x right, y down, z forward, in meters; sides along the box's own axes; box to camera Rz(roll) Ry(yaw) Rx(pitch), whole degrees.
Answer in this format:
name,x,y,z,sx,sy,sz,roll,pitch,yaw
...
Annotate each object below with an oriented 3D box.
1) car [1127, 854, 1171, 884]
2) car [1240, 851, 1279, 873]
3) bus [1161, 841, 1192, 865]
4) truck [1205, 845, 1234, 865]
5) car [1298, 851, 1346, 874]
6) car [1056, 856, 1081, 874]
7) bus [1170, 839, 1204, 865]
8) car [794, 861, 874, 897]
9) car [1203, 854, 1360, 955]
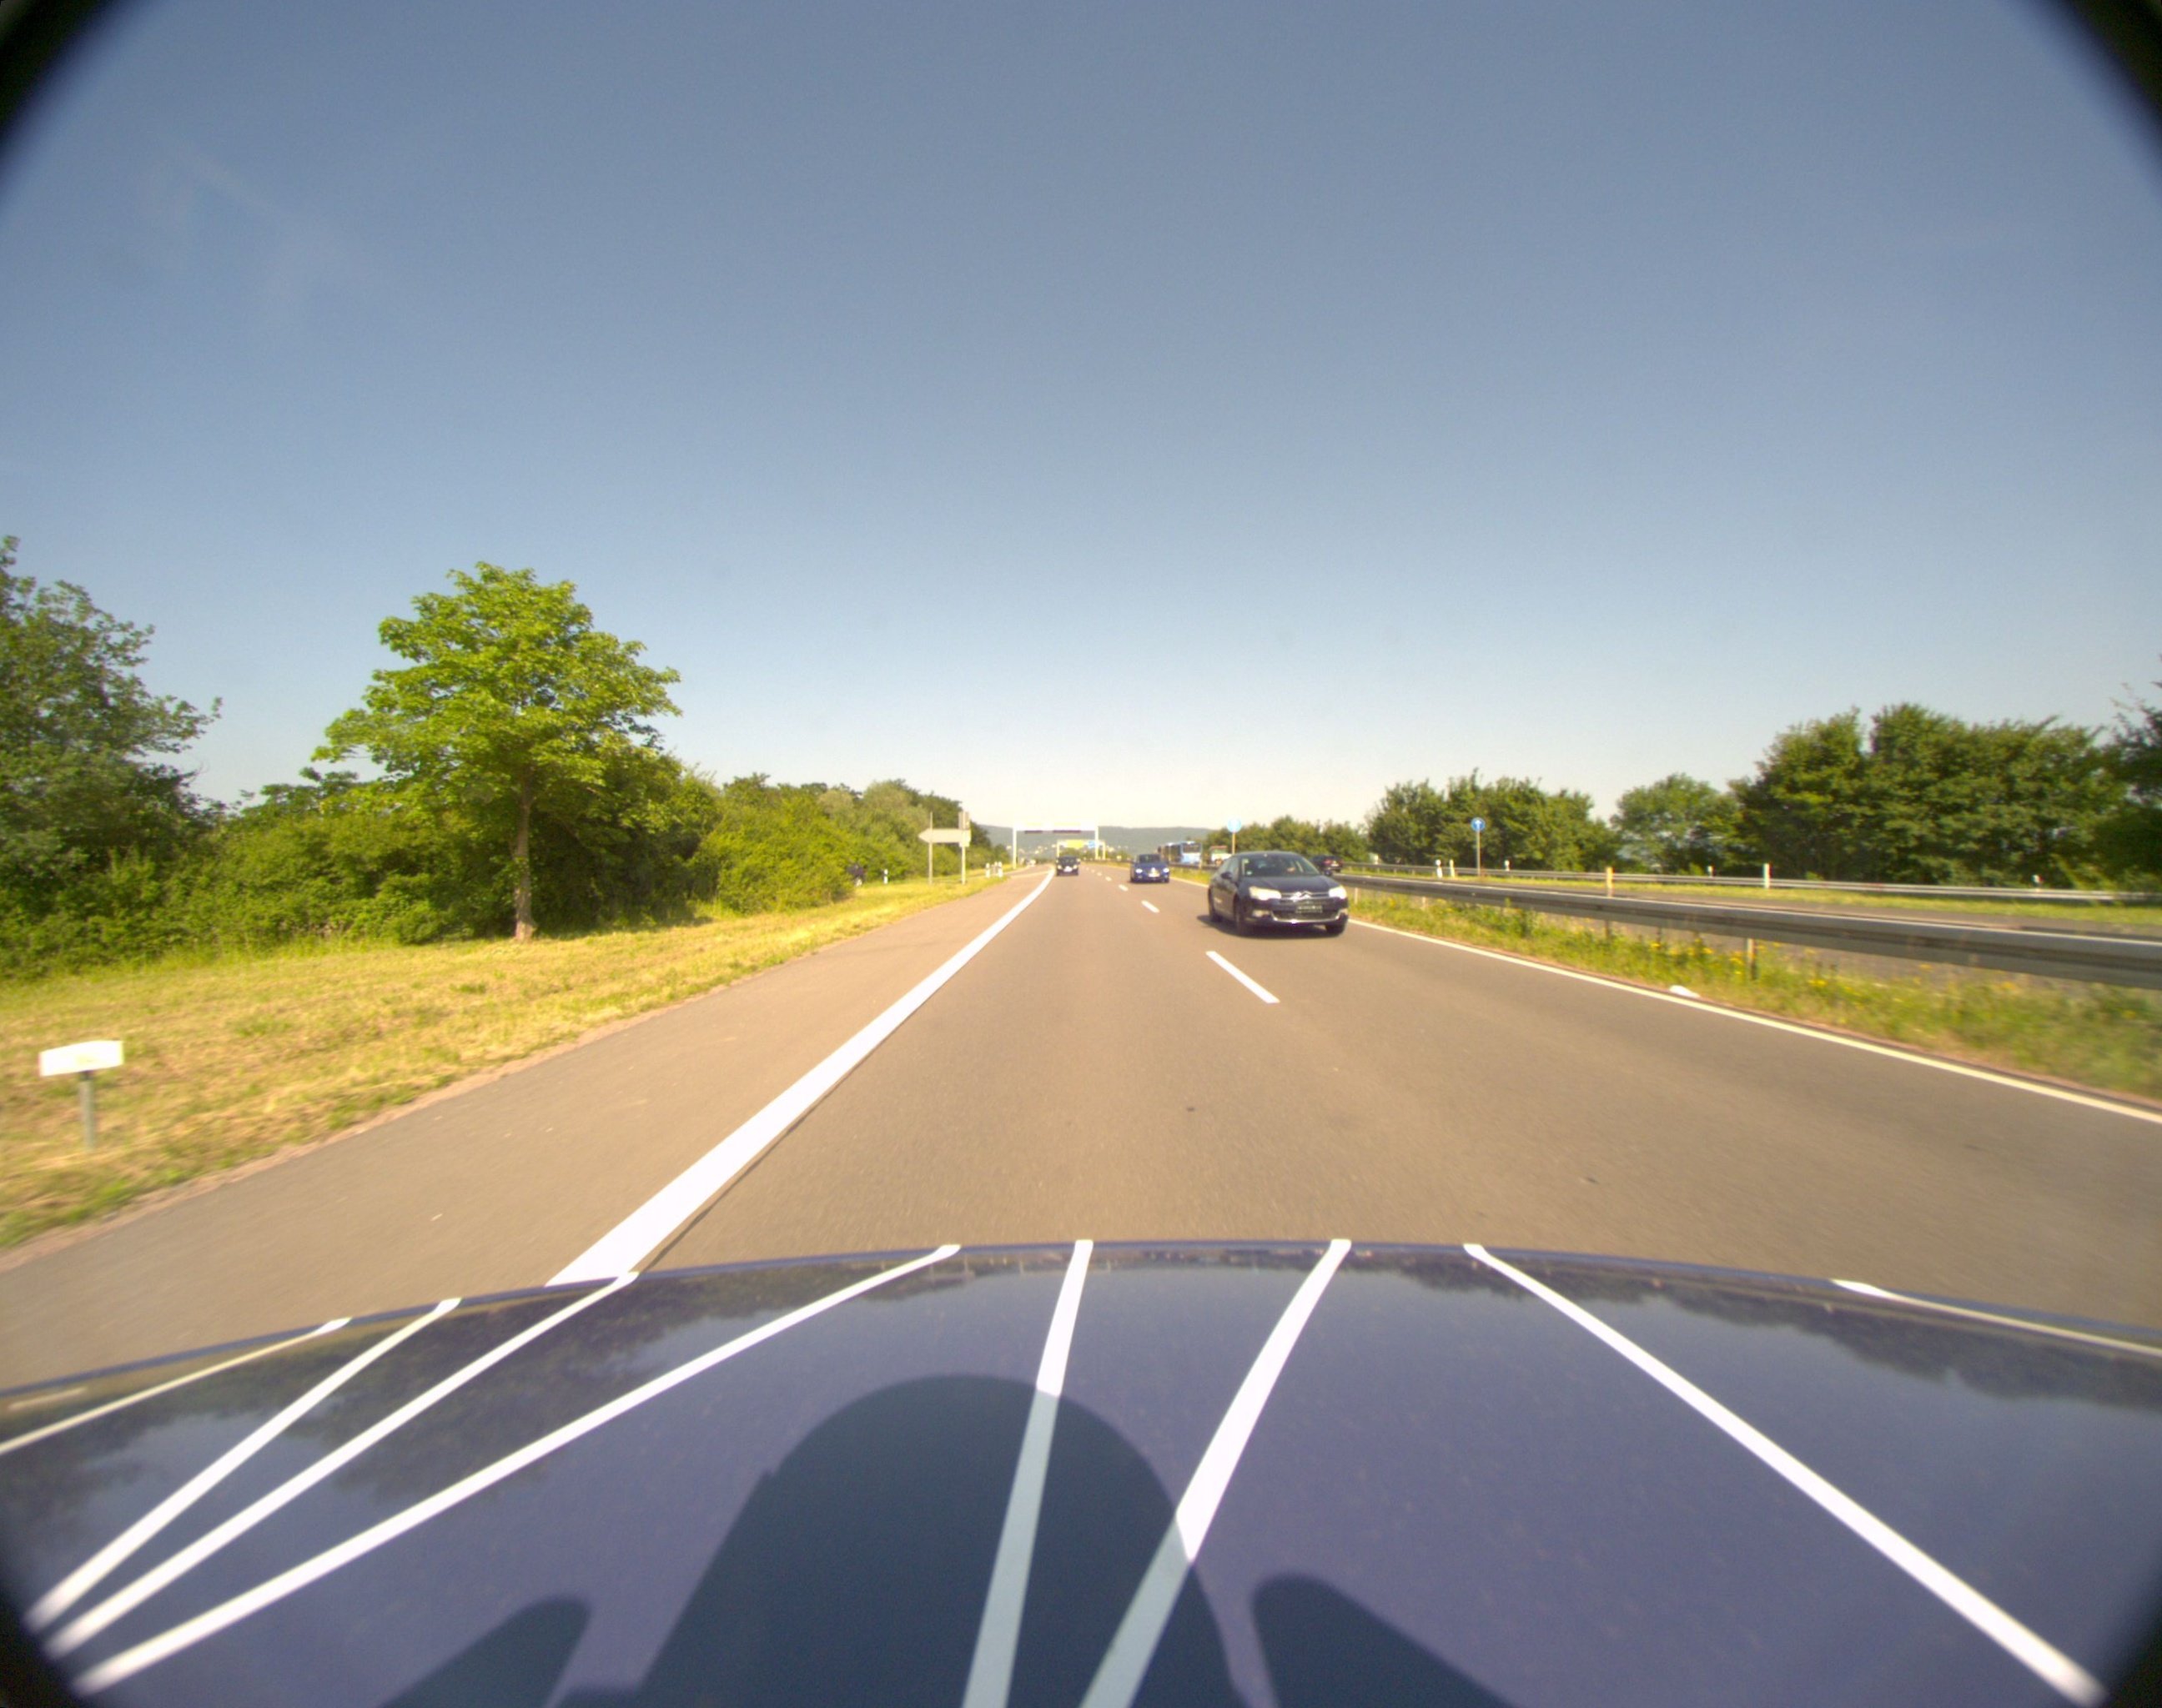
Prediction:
name,x,y,z,sx,sy,sz,roll,pitch,yaw
car,3.353,0.708,37.959,1.652,1.403,3.774,-2,0,-3
car,14.043,0.628,60.136,1.999,1.596,4.274,-2,-1,0
bus,12.832,-0.135,103.063,2.732,3.092,9.833,-1,0,-1
truck,17.352,0.128,95.531,2.132,2.439,6.615,1,0,-2
car,19.137,0.645,60.578,1.840,1.690,4.749,-2,0,-7
car,-0.883,0.812,56.023,1.600,1.241,4.001,-2,-1,2
bus,13.044,-0.266,93.988,2.732,3.092,8.392,-1,0,-1
car,-14.013,1.387,43.409,1.787,1.637,4.154,-4,1,28
car,3.549,0.804,14.315,1.788,1.524,4.375,-2,0,0
